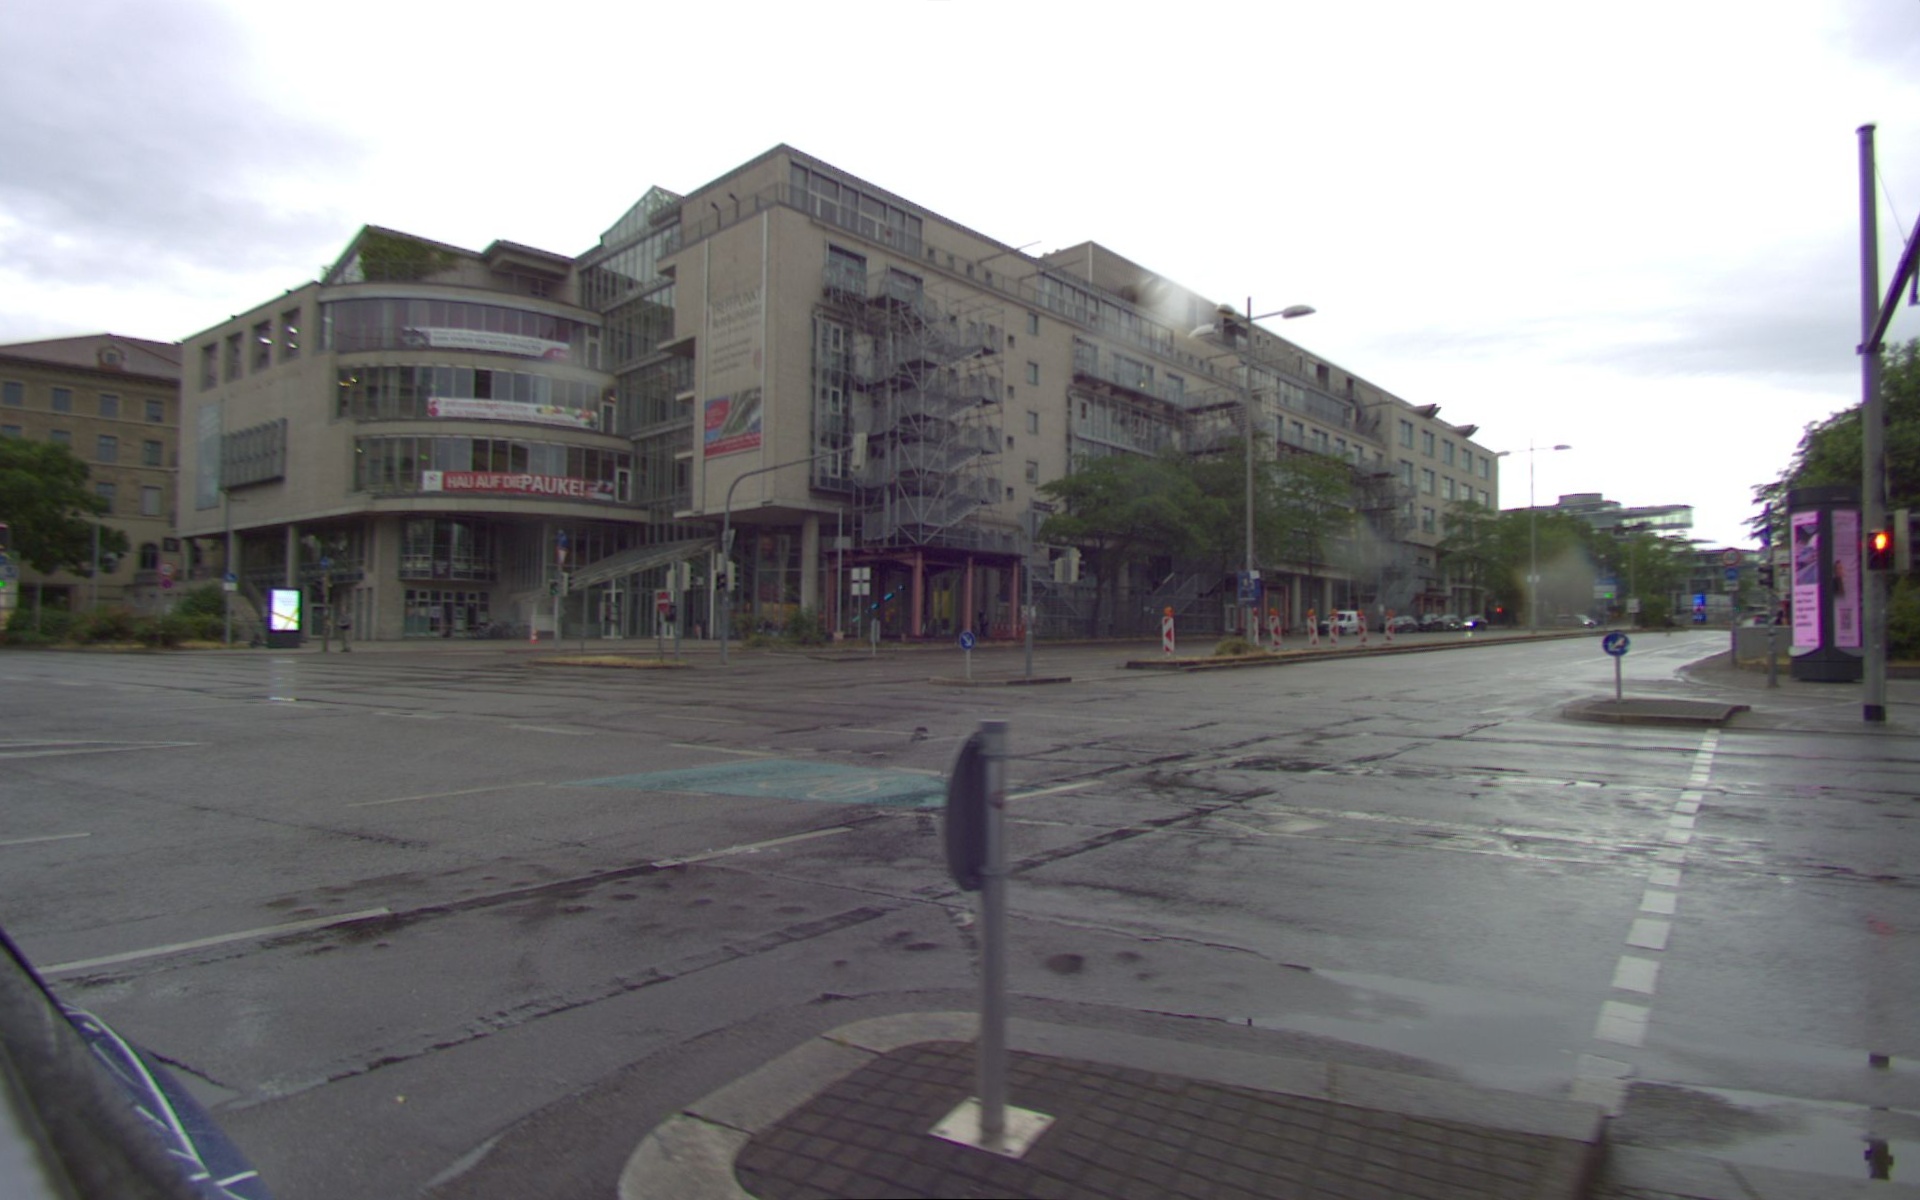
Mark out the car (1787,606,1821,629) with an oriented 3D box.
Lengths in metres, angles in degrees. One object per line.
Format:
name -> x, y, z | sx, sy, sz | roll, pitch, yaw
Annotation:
car -> 67.478, 1.417, 80.918 | 1.999, 1.763, 3.946 | -1, -1, 40

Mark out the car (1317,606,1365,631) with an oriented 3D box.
car -> 28.096, 1.369, 74.542 | 1.999, 1.807, 4.278 | -1, -1, 40

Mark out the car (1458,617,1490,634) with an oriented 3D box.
car -> 48.515, 2.364, 95.462 | 1.757, 1.522, 4.278 | -1, -1, 40

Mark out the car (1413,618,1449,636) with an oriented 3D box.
car -> 40.598, 2.335, 87.225 | 1.757, 1.522, 4.278 | -1, -1, 40

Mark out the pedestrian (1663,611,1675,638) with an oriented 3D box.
pedestrian -> 53.990, 1.850, 77.105 | 0.683, 2.029, 0.616 | 1, -2, -44

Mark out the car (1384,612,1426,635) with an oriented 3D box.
car -> 35.970, 1.845, 81.796 | 1.999, 1.807, 4.278 | -1, -1, 40
